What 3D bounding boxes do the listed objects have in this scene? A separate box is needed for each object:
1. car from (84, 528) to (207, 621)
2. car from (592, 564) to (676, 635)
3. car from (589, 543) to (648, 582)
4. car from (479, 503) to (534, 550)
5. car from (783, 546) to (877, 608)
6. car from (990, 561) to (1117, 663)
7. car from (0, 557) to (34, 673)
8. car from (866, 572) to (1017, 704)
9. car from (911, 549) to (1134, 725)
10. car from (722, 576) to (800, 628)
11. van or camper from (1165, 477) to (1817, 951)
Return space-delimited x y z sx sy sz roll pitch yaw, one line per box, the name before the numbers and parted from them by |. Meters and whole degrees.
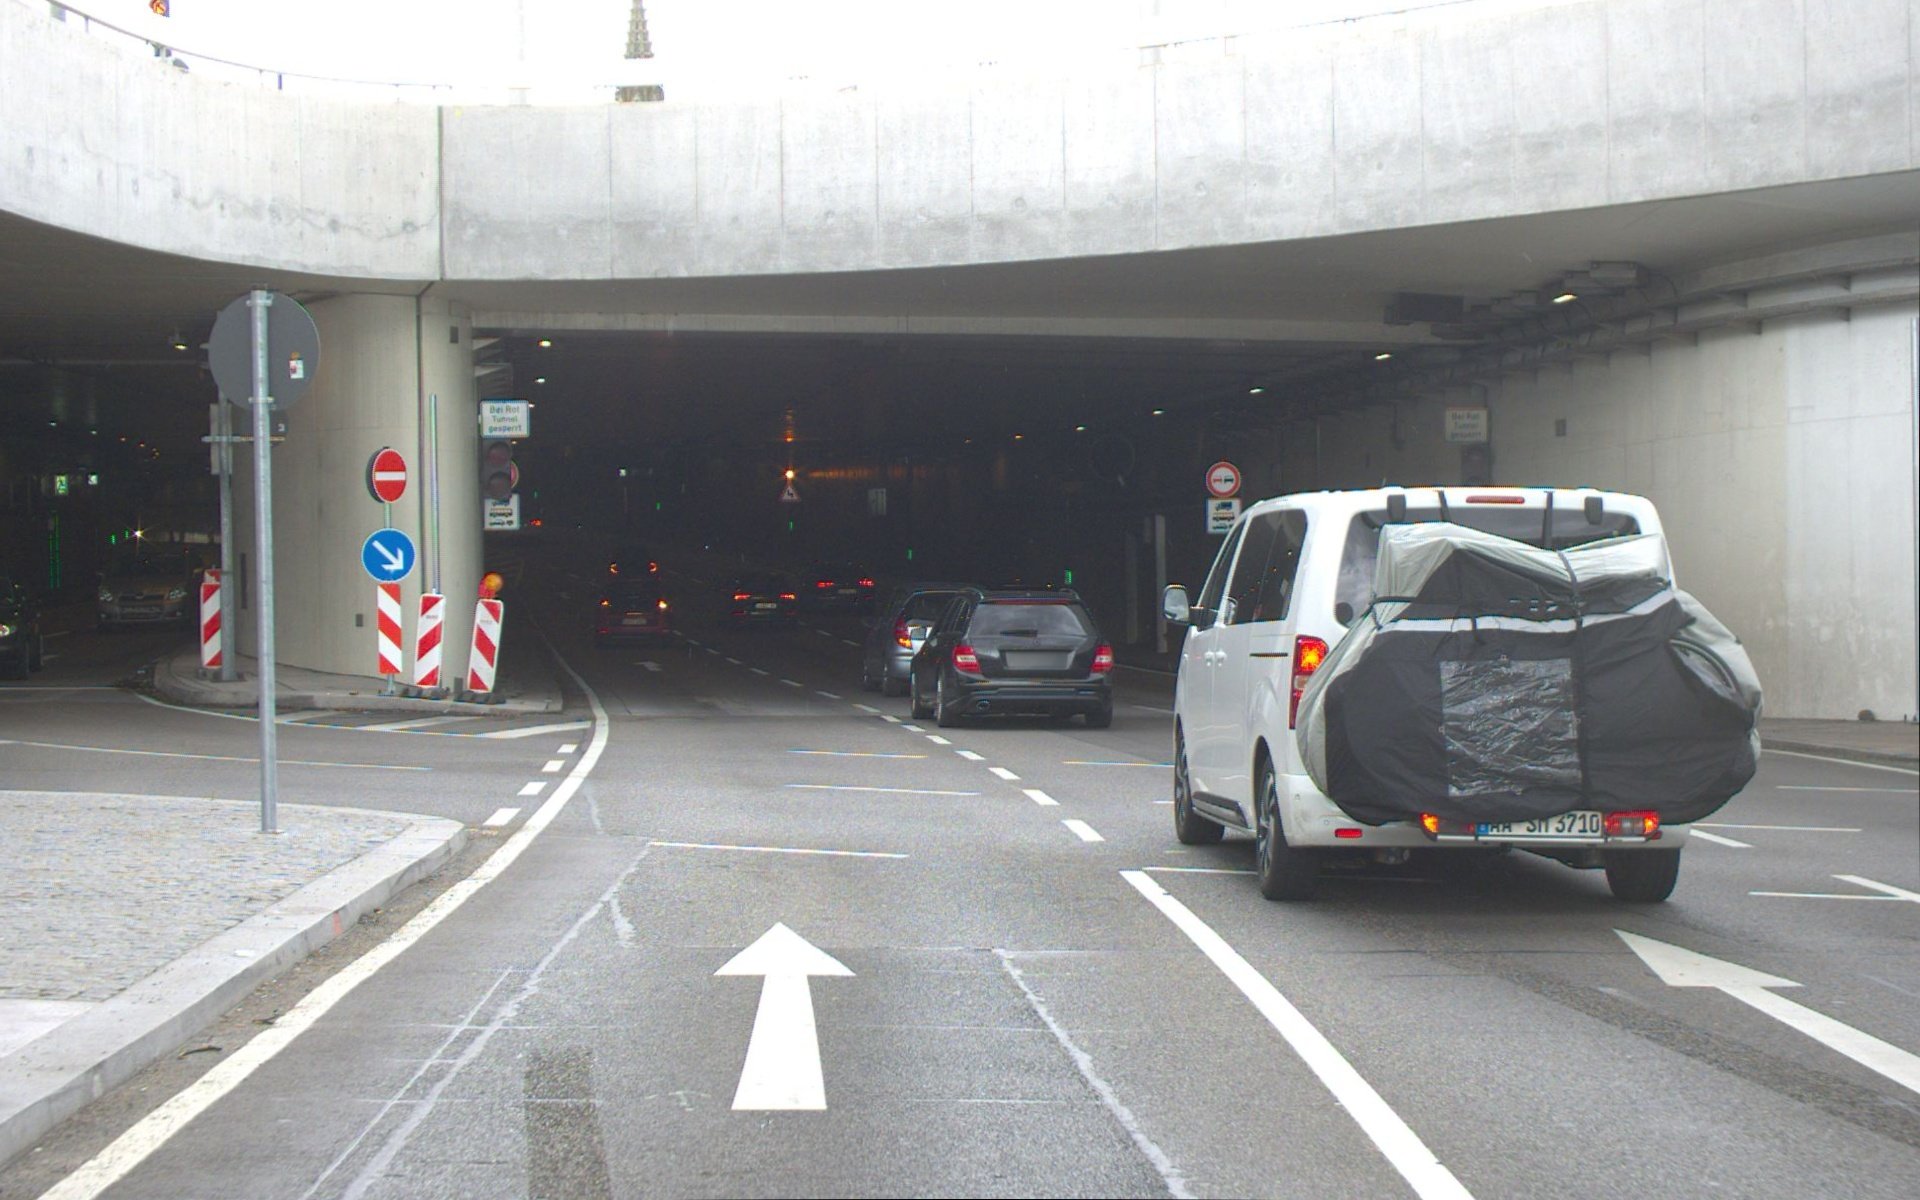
car | -15.270 -0.514 64.634 1.807 1.599 4.789 0 2 -8
car | -7.012 -0.028 73.692 1.660 1.483 3.568 0 0 -7
car | -11.081 -1.232 111.399 1.508 1.242 3.568 0 1 -12
car | -19.516 -3.159 147.814 1.993 2.007 4.001 -1 1 -12
car | -3.609 -0.626 94.588 1.989 1.670 4.509 0 0 -10
car | 1.658 0.195 62.166 1.659 1.628 3.568 4 1 -7
car | -13.450 0.162 45.566 1.664 1.436 4.114 0 2 -24
car | -0.299 0.489 47.828 1.818 1.575 4.001 4 1 -3
car | 0.586 0.368 35.650 1.818 1.678 4.001 1 0 -6
car | -4.917 0.035 84.468 1.663 1.243 3.568 0 0 -7
van or camper | 2.281 0.458 16.427 1.993 1.839 5.508 1 0 -3
